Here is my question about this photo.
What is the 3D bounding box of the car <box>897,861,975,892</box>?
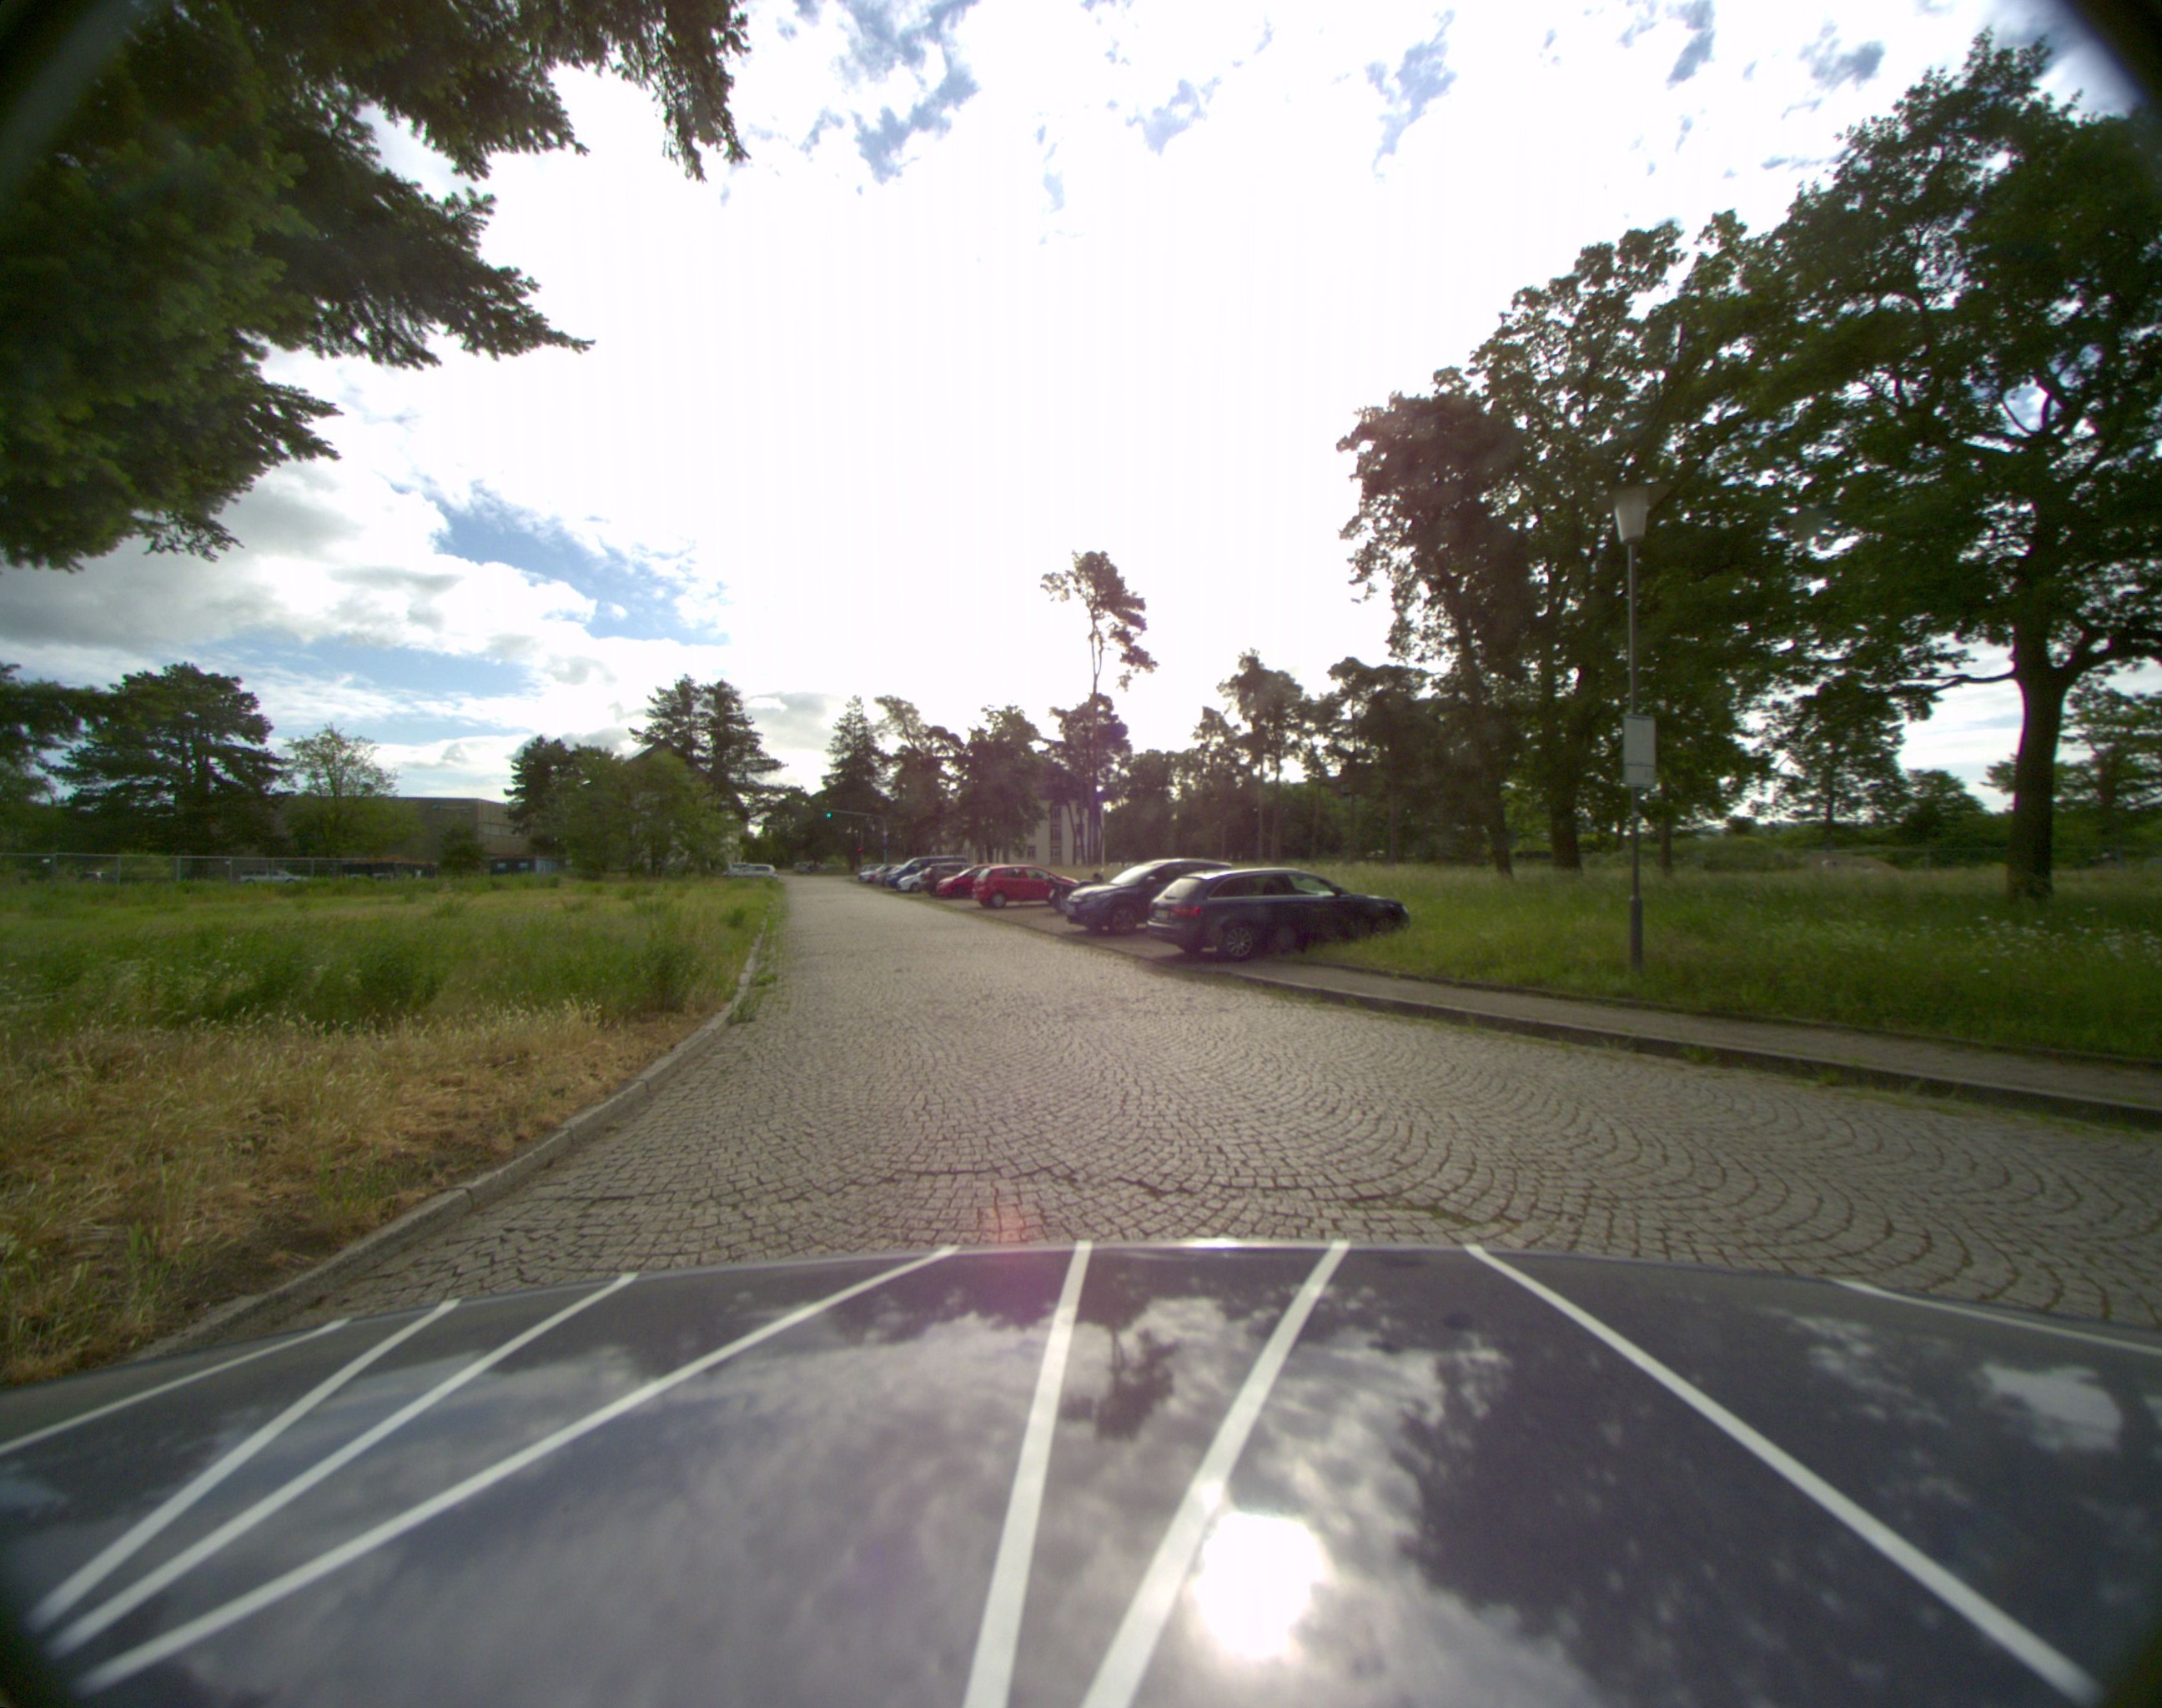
[{"bbox_3d":[-8.123,1.229,42.509,3.936,1.385,1.739,-3,2,-23],"label":"car"}]

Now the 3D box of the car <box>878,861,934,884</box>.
[{"bbox_3d":[-12.804,1.310,55.575,3.578,1.426,1.603,-4,2,-28],"label":"car"}]

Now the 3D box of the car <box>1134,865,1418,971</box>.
[{"bbox_3d":[3.287,0.989,12.897,4.449,1.471,1.679,-1,0,-18],"label":"car"}]

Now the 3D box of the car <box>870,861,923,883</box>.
[{"bbox_3d":[-13.990,1.349,57.675,3.578,1.408,1.634,-4,2,-28],"label":"car"}]

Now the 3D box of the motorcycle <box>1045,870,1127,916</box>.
[{"bbox_3d":[0.155,1.154,22.875,2.365,1.280,0.742,-1,0,-21],"label":"motorcycle"}]

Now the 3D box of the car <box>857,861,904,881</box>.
[{"bbox_3d":[-17.030,1.393,64.479,3.577,1.450,1.623,-3,2,-24],"label":"car"}]

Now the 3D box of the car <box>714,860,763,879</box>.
[{"bbox_3d":[-30.135,1.357,66.802,3.737,1.430,1.623,-3,2,-29],"label":"car"}]

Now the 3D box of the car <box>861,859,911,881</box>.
[{"bbox_3d":[-15.911,1.295,61.939,3.578,1.479,1.599,-4,2,-29],"label":"car"}]

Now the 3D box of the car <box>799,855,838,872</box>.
[{"bbox_3d":[-44.345,1.576,128.543,5.806,2.548,2.763,-4,2,-26],"label":"car"}]

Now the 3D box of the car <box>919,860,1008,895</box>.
[{"bbox_3d":[-5.677,1.106,36.656,3.923,1.594,1.817,0,0,-24],"label":"car"}]

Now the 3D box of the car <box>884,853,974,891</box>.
[{"bbox_3d":[-9.013,1.033,45.034,4.841,1.855,2.157,-3,2,-23],"label":"car"}]

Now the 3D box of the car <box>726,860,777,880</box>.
[{"bbox_3d":[-26.960,1.316,62.260,3.736,1.430,1.623,-3,2,-25],"label":"car"}]

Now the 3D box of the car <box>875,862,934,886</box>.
[{"bbox_3d":[-12.175,1.350,52.520,3.605,1.413,1.614,-3,2,-28],"label":"car"}]

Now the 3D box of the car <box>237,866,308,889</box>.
[{"bbox_3d":[-69.133,1.977,65.015,1.995,1.892,3.779,-2,-2,28],"label":"car"}]

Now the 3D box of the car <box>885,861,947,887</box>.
[{"bbox_3d":[-10.911,1.292,50.191,3.605,1.446,1.684,-4,2,-28],"label":"car"}]

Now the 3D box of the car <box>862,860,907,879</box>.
[{"bbox_3d":[-17.439,1.363,67.307,3.460,1.424,1.624,-4,2,-31],"label":"car"}]

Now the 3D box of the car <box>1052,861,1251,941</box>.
[{"bbox_3d":[1.615,0.989,17.339,4.156,1.564,1.786,-1,1,-22],"label":"car"}]

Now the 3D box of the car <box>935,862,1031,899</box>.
[{"bbox_3d":[-4.432,1.160,34.230,3.958,1.511,1.704,-1,-1,-21],"label":"car"}]

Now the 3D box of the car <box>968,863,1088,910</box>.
[{"bbox_3d":[-1.880,1.095,27.043,3.900,1.470,1.669,-2,0,-22],"label":"car"}]
